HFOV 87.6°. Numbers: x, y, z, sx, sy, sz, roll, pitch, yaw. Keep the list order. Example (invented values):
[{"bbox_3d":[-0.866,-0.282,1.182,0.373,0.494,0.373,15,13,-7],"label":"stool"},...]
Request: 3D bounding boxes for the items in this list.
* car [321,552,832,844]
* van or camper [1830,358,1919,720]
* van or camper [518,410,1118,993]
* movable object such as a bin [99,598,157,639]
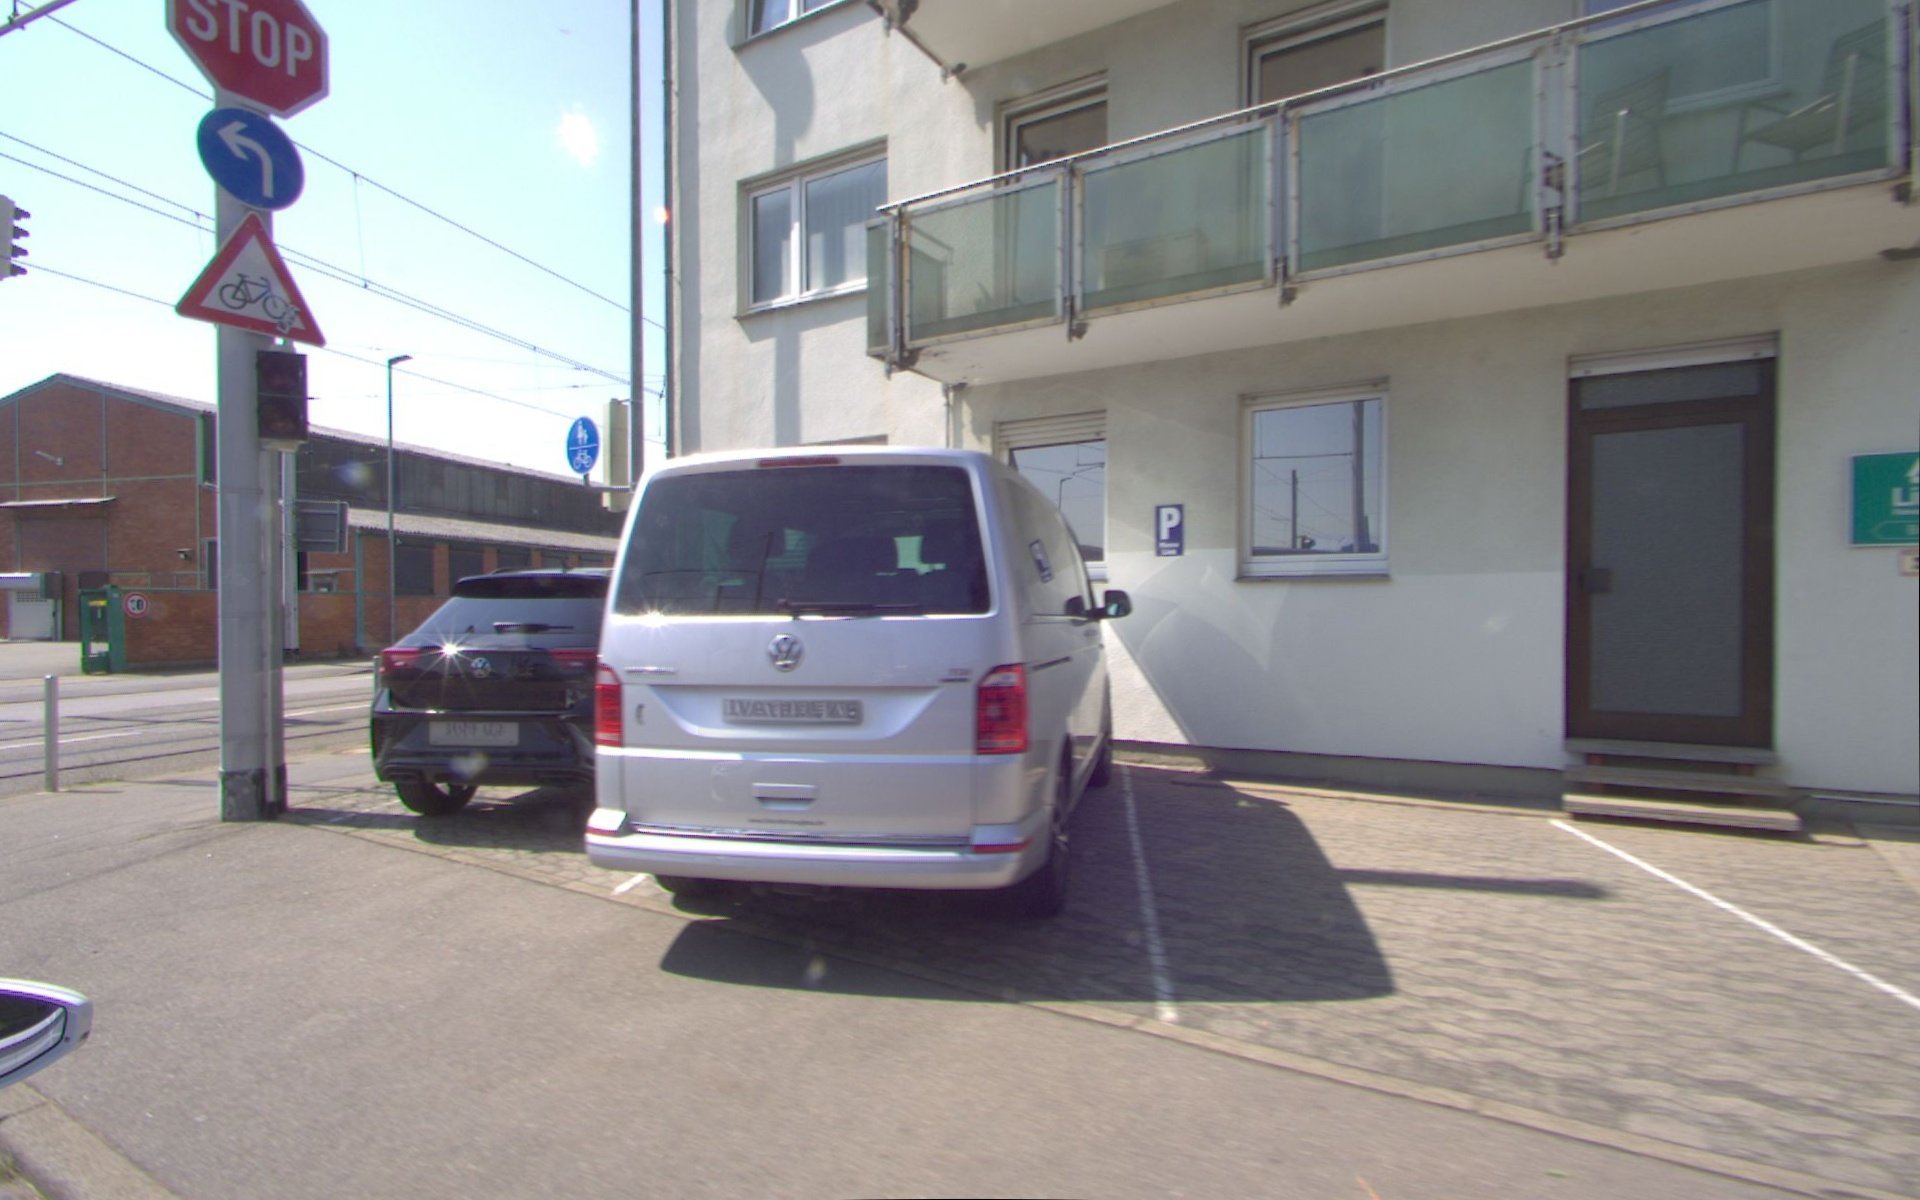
[{"bbox_3d":[-2.357,0.548,7.379,1.844,1.541,3.973,0,-1,7],"label":"car"},{"bbox_3d":[9.756,-0.641,6.786,2.736,3.742,11.597,0,0,25],"label":"van or camper"},{"bbox_3d":[-0.212,0.337,5.751,1.962,1.933,4.552,0,0,12],"label":"van or camper"},{"bbox_3d":[-27.107,0.587,32.630,1.131,1.332,0.976,0,1,16],"label":"movable object such as a bin"}]
